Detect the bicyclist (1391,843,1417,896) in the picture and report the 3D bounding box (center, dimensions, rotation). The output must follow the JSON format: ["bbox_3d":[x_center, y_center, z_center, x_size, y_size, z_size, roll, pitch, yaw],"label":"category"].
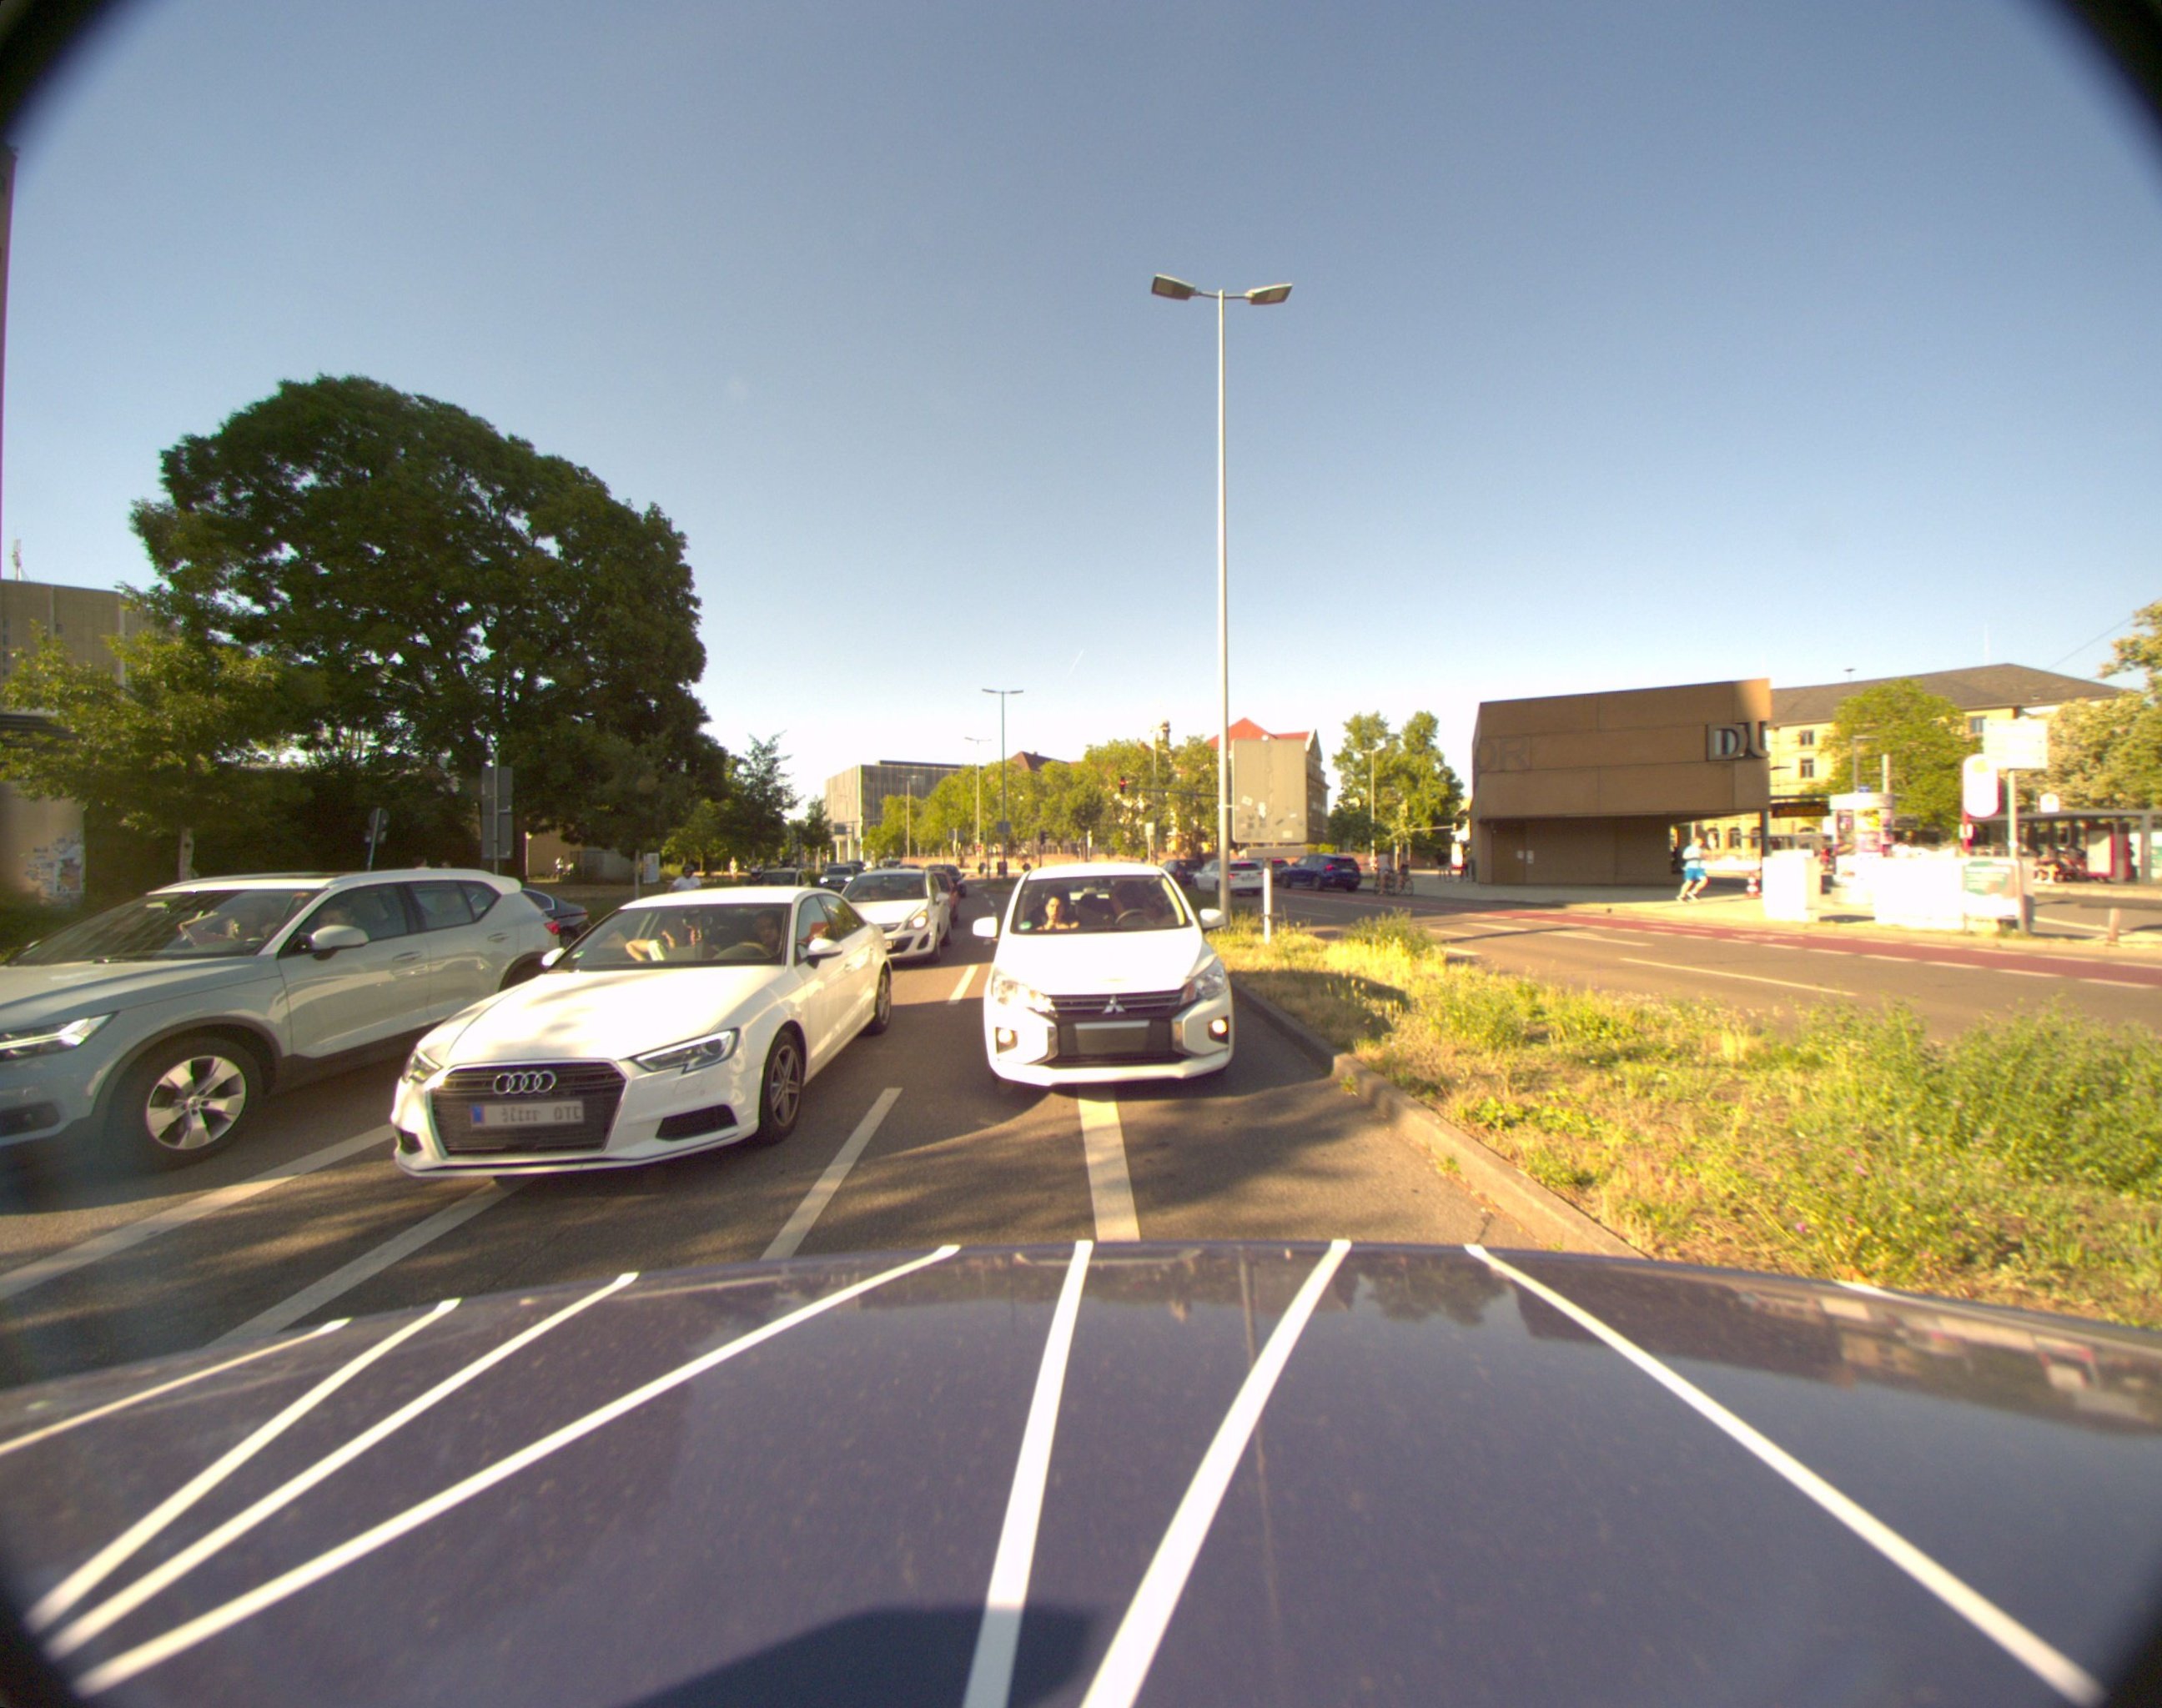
[{"bbox_3d":[12.485,0.597,29.359,0.611,2.002,0.708,-1,1,-15],"label":"bicyclist"}]

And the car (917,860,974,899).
[{"bbox_3d":[-5.927,1.067,32.905,1.748,1.536,3.993,-1,0,-20],"label":"car"}]

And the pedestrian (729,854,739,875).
[{"bbox_3d":[-25.650,0.738,56.173,0.548,1.521,0.603,-3,1,-19],"label":"pedestrian"}]

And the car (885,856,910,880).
[{"bbox_3d":[-14.510,1.097,60.076,1.880,1.805,3.995,-1,0,-14],"label":"car"}]

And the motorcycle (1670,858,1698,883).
[{"bbox_3d":[26.274,0.706,33.109,0.948,1.061,0.331,-1,1,39],"label":"motorcycle"}]

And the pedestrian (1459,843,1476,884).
[{"bbox_3d":[19.193,0.450,37.750,0.655,2.002,0.469,-2,1,20],"label":"pedestrian"}]

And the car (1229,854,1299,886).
[{"bbox_3d":[9.301,0.787,38.992,1.850,1.483,4.388,1,0,-10],"label":"car"}]

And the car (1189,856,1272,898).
[{"bbox_3d":[6.040,0.877,31.261,1.850,1.483,4.388,-2,1,-10],"label":"car"}]

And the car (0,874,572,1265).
[{"bbox_3d":[-5.752,1.052,5.263,1.628,1.611,4.223,-2,1,-2],"label":"car"}]

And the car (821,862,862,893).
[{"bbox_3d":[-12.797,1.220,40.828,1.747,1.536,3.995,-1,0,-12],"label":"car"}]

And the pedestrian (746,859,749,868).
[{"bbox_3d":[-59.247,1.689,134.985,0.409,1.476,0.486,-1,1,1],"label":"pedestrian"}]

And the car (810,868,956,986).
[{"bbox_3d":[-3.076,1.048,12.585,1.628,1.451,4.039,-2,1,-5],"label":"car"}]

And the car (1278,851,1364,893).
[{"bbox_3d":[10.384,0.721,33.171,1.757,1.680,4.184,-1,0,-11],"label":"car"}]

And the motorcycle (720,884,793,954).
[{"bbox_3d":[-7.099,1.387,16.738,0.718,1.297,2.234,-2,1,-4],"label":"motorcycle"}]

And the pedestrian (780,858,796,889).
[{"bbox_3d":[-15.624,1.039,40.529,0.596,1.585,0.594,-2,1,-8],"label":"pedestrian"}]

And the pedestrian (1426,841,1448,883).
[{"bbox_3d":[17.619,0.382,37.606,0.777,2.002,0.773,-2,1,13],"label":"pedestrian"}]

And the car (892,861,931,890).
[{"bbox_3d":[-10.461,1.275,46.791,1.748,1.696,3.993,-1,0,-21],"label":"car"}]

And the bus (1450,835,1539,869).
[{"bbox_3d":[45.888,-0.277,84.069,12.565,3.193,3.079,-3,1,-34],"label":"bus"}]

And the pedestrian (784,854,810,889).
[{"bbox_3d":[-16.856,1.014,45.170,1.143,2.002,1.285,-2,1,-10],"label":"pedestrian"}]

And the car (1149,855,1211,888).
[{"bbox_3d":[4.790,0.809,37.467,1.757,1.451,4.184,-2,1,-11],"label":"car"}]

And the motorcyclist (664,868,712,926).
[{"bbox_3d":[-9.324,1.014,18.060,0.718,1.297,0.735,-2,1,-4],"label":"motorcyclist"}]

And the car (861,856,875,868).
[{"bbox_3d":[-32.522,1.259,115.999,1.881,1.805,3.993,-1,0,-19],"label":"car"}]

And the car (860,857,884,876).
[{"bbox_3d":[-19.206,1.151,69.734,1.748,1.696,3.993,-1,0,-20],"label":"car"}]

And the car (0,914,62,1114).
[{"bbox_3d":[-8.760,1.240,3.888,1.628,1.451,4.040,-2,1,-2],"label":"car"}]

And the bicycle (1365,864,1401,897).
[{"bbox_3d":[11.693,1.012,29.461,0.464,1.185,1.395,-3,1,-17],"label":"bicycle"}]

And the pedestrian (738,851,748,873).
[{"bbox_3d":[-25.131,0.588,56.434,0.548,1.597,0.603,-3,1,-19],"label":"pedestrian"}]

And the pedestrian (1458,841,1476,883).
[{"bbox_3d":[18.740,0.384,36.911,0.655,2.002,0.469,-2,1,20],"label":"pedestrian"}]

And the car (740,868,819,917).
[{"bbox_3d":[-10.575,1.288,26.911,1.746,1.516,3.996,-1,0,-9],"label":"car"}]

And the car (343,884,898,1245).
[{"bbox_3d":[-2.556,1.036,5.396,1.628,1.396,3.832,-2,1,-2],"label":"car"}]

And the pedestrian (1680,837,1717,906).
[{"bbox_3d":[17.368,0.487,21.368,0.797,1.886,0.612,0,1,40],"label":"pedestrian"}]

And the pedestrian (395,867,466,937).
[{"bbox_3d":[-16.782,1.211,19.637,1.010,1.711,0.884,-2,1,-10],"label":"pedestrian"}]

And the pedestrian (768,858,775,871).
[{"bbox_3d":[-47.261,1.642,115.931,0.840,2.002,1.065,-3,1,-30],"label":"pedestrian"}]

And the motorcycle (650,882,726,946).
[{"bbox_3d":[-9.286,1.381,18.050,0.718,1.297,2.234,-2,1,-4],"label":"motorcycle"}]

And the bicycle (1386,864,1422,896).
[{"bbox_3d":[12.490,0.982,29.428,0.464,1.185,1.395,-3,1,-17],"label":"bicycle"}]

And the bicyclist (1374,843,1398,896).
[{"bbox_3d":[11.748,0.587,29.285,0.611,2.002,0.565,-1,1,-15],"label":"bicyclist"}]

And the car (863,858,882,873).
[{"bbox_3d":[-24.683,1.330,89.688,1.881,1.805,3.993,-1,0,-19],"label":"car"}]

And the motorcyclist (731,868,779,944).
[{"bbox_3d":[-7.111,1.120,16.617,0.711,1.581,0.690,-2,1,-4],"label":"motorcyclist"}]

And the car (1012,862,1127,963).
[{"bbox_3d":[-0.154,0.945,14.068,1.755,1.451,4.188,-2,1,1],"label":"car"}]

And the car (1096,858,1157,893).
[{"bbox_3d":[2.079,0.989,36.005,1.757,1.451,4.184,-2,1,-12],"label":"car"}]

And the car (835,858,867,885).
[{"bbox_3d":[-15.965,1.162,52.955,1.880,1.805,3.995,-1,0,-14],"label":"car"}]

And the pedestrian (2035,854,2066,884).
[{"bbox_3d":[39.030,0.611,30.584,0.539,1.180,0.659,-2,1,29],"label":"pedestrian"}]

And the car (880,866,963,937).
[{"bbox_3d":[-3.900,1.097,19.102,1.628,1.451,4.039,-2,1,-7],"label":"car"}]

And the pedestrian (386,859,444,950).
[{"bbox_3d":[-14.217,1.057,16.232,0.464,1.875,0.696,-2,1,18],"label":"pedestrian"}]

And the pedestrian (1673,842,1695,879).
[{"bbox_3d":[32.934,0.353,41.482,0.780,2.002,0.771,-3,2,-42],"label":"pedestrian"}]

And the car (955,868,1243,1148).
[{"bbox_3d":[0.055,0.932,6.440,1.628,1.451,4.040,-2,1,-2],"label":"car"}]
